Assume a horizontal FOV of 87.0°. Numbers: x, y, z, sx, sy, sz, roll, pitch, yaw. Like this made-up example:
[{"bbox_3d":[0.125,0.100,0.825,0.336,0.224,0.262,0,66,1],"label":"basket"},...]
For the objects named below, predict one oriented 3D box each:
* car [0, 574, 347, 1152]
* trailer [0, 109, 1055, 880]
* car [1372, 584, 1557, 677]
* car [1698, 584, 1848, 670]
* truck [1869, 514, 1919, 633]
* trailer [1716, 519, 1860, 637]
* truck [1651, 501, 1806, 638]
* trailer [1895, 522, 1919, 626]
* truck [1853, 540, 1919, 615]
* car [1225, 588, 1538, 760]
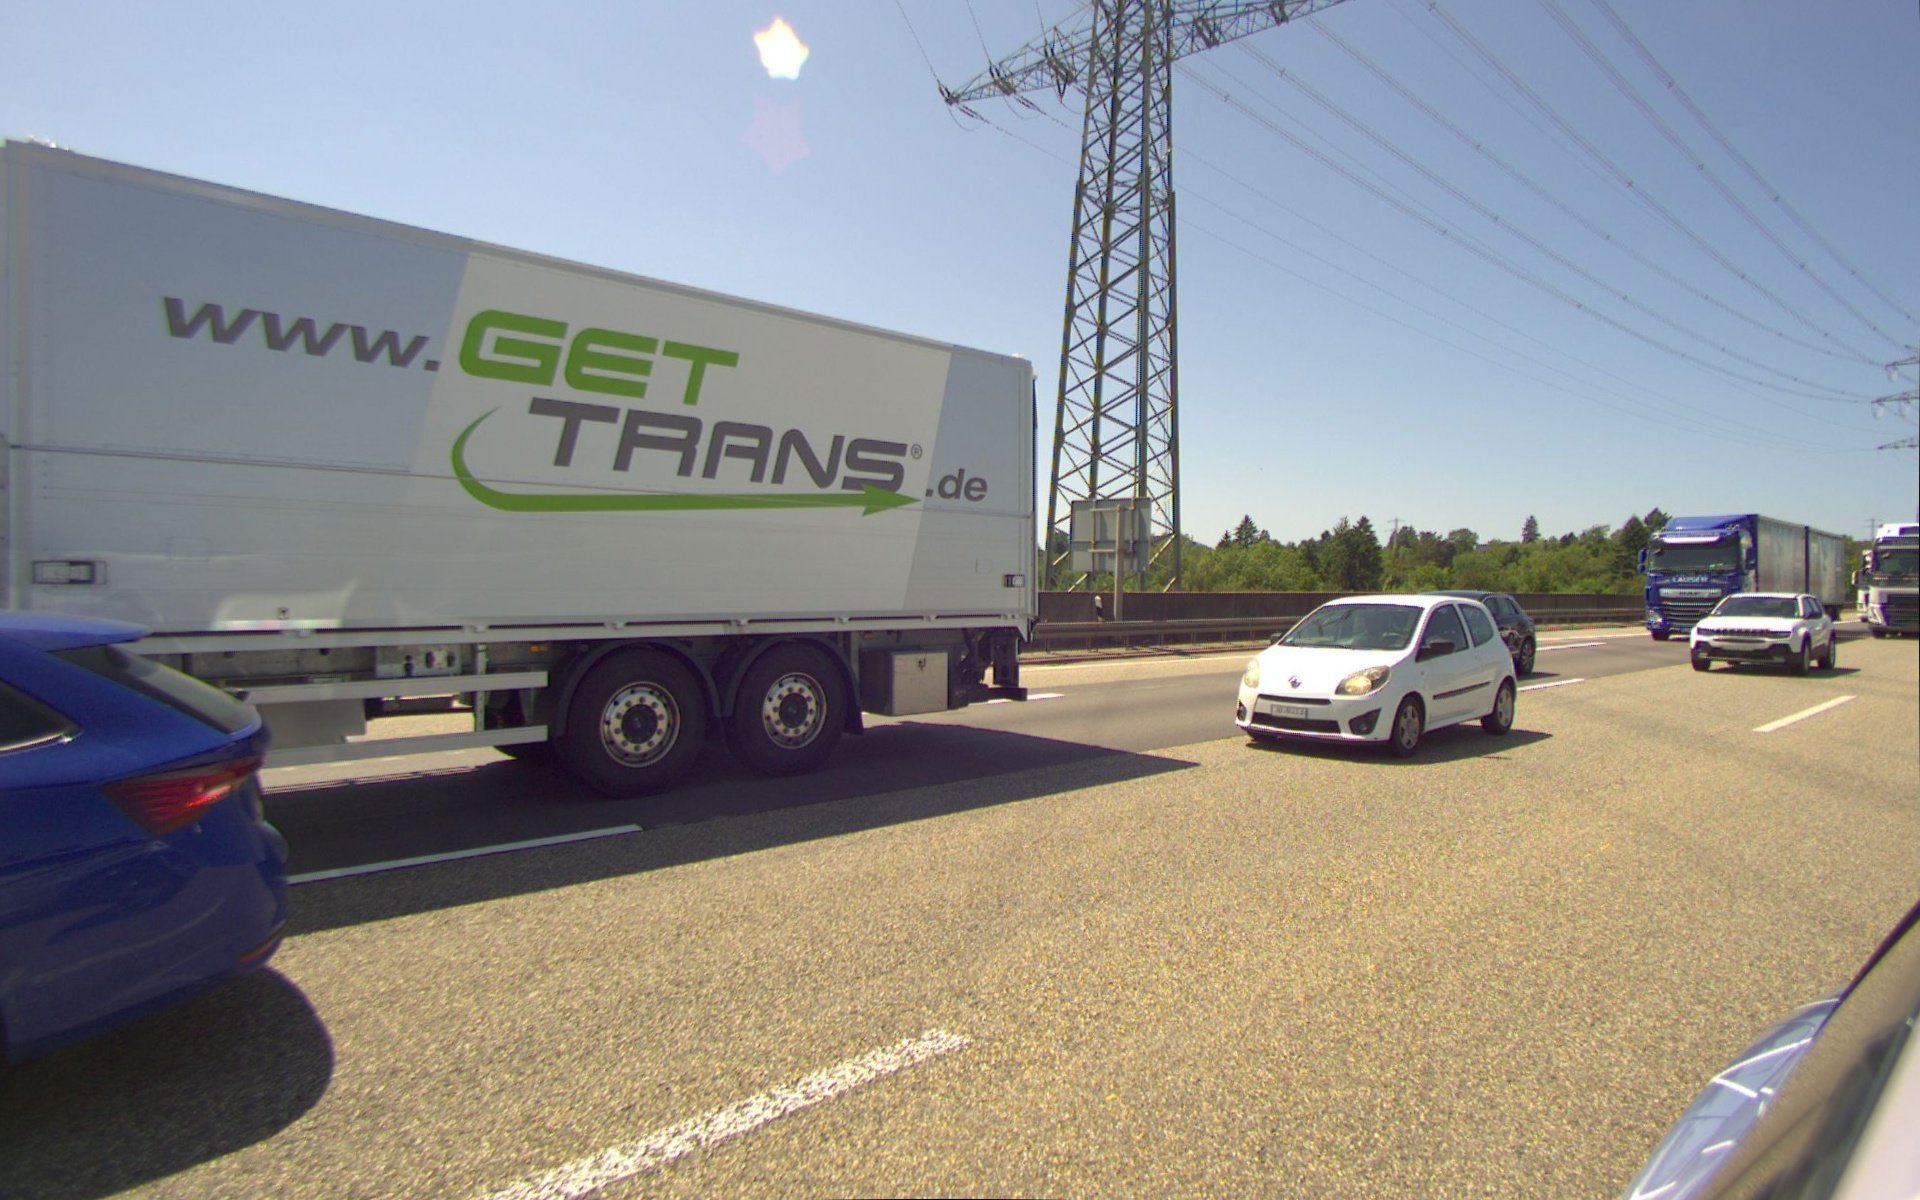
[{"bbox_3d":[-4.057,0.666,2.215,4.423,1.458,1.712,-1,1,-42],"label":"car"},{"bbox_3d":[-3.059,-0.522,8.022,8.149,3.640,2.848,0,0,-42],"label":"trailer"},{"bbox_3d":[9.282,0.483,18.507,3.821,1.524,1.708,0,1,-41],"label":"car"},{"bbox_3d":[16.087,0.464,19.979,3.688,1.554,1.720,0,1,-42],"label":"car"},{"bbox_3d":[34.151,-0.925,35.290,6.624,3.941,2.911,-1,0,-41],"label":"truck"},{"bbox_3d":[32.209,-0.855,39.159,10.696,4.044,2.541,-1,0,-41],"label":"trailer"},{"bbox_3d":[25.232,-0.913,33.069,7.789,4.018,2.515,0,0,-41],"label":"truck"},{"bbox_3d":[40.241,-1.068,40.668,9.605,3.918,2.895,-1,0,-41],"label":"trailer"},{"bbox_3d":[52.599,-1.252,56.810,6.624,3.941,2.911,-1,0,-41],"label":"truck"},{"bbox_3d":[4.417,0.608,10.390,3.566,1.458,1.582,0,1,-41],"label":"car"}]
